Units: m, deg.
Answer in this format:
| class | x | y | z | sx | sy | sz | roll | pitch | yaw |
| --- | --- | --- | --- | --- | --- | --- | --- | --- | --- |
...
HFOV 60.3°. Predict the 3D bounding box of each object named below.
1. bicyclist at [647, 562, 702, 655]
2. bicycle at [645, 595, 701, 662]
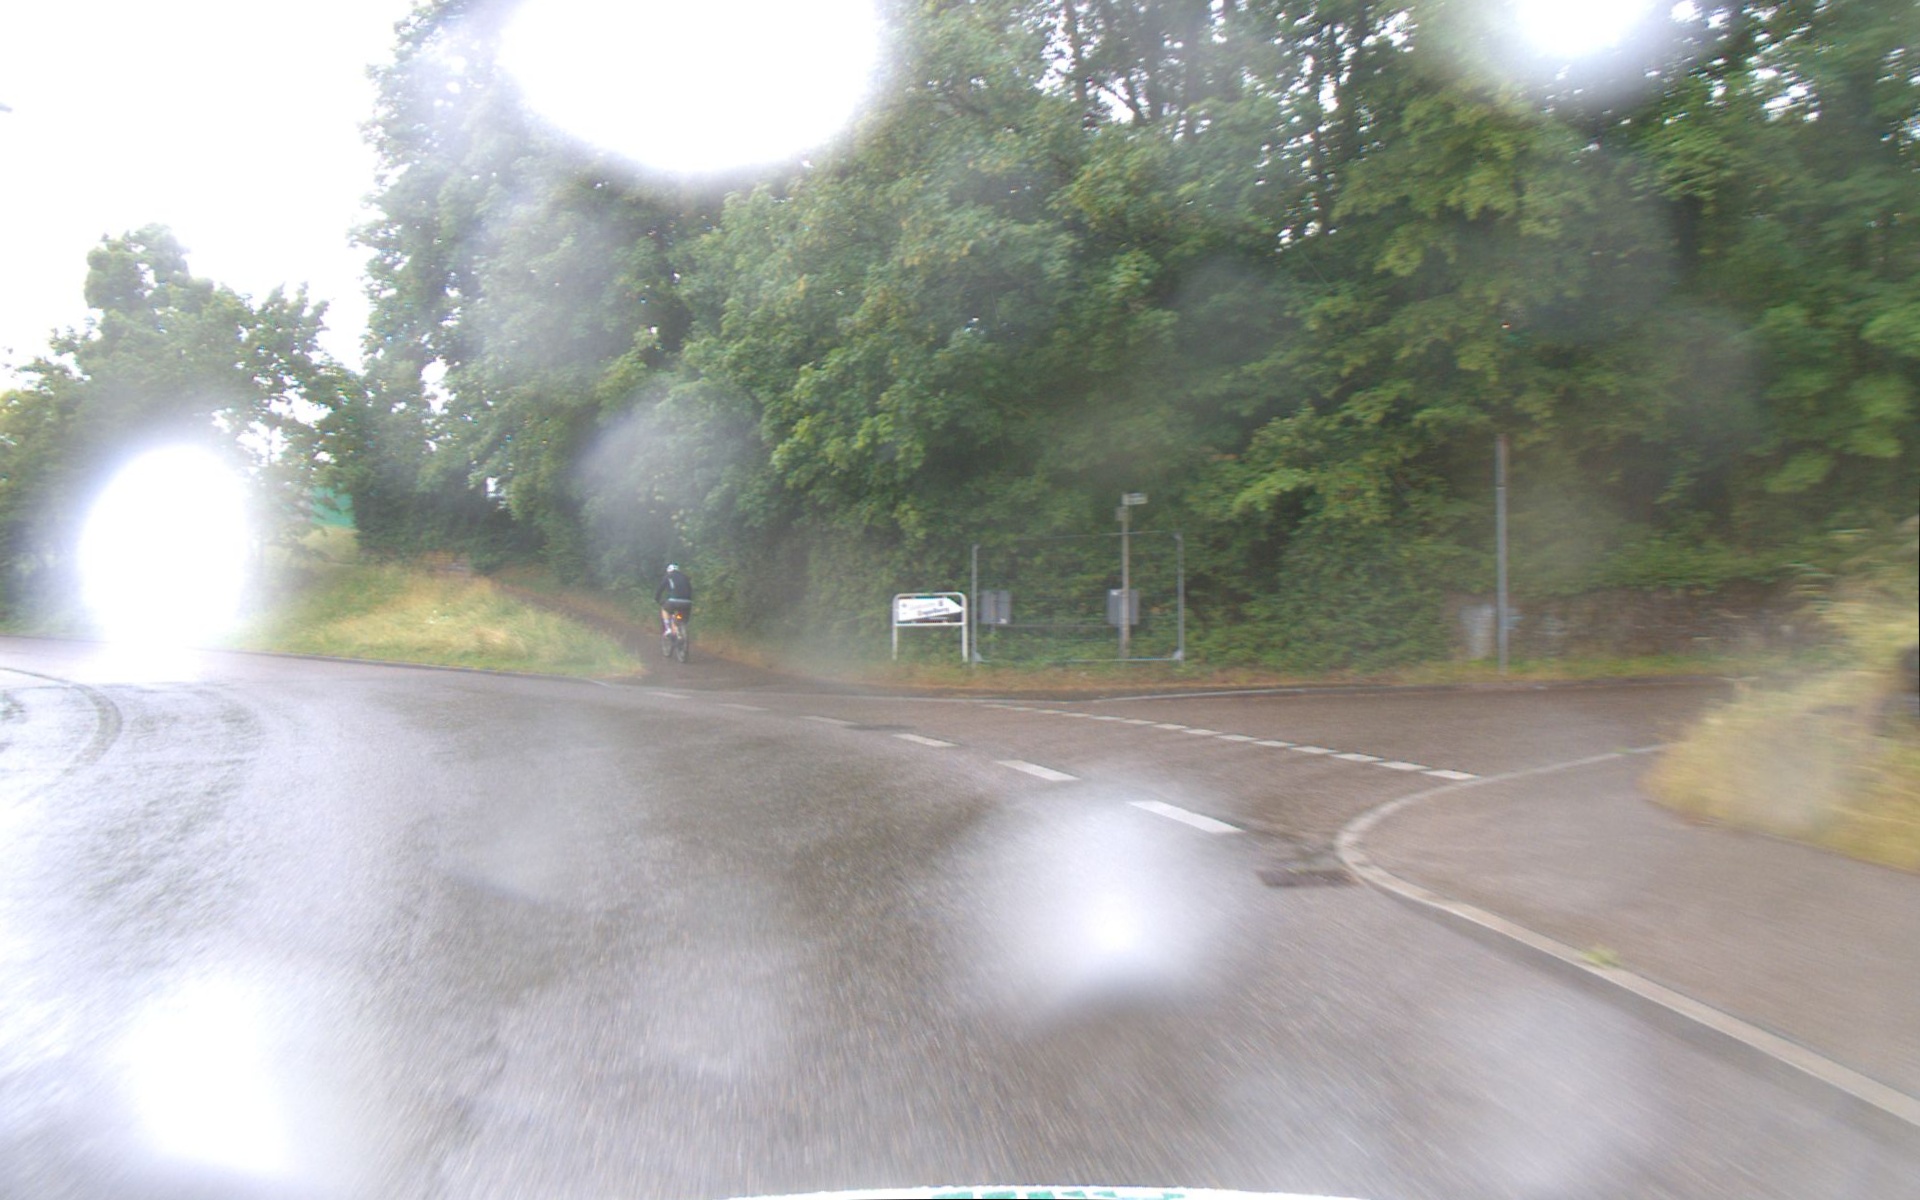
| class | x | y | z | sx | sy | sz | roll | pitch | yaw |
| --- | --- | --- | --- | --- | --- | --- | --- | --- | --- |
| bicyclist | -5.307 | 0.148 | 30.685 | 0.712 | 1.642 | 0.898 | 1 | 4 | -28 |
| bicycle | -5.331 | 0.515 | 30.638 | 0.521 | 1.103 | 1.606 | 1 | 4 | -28 |
